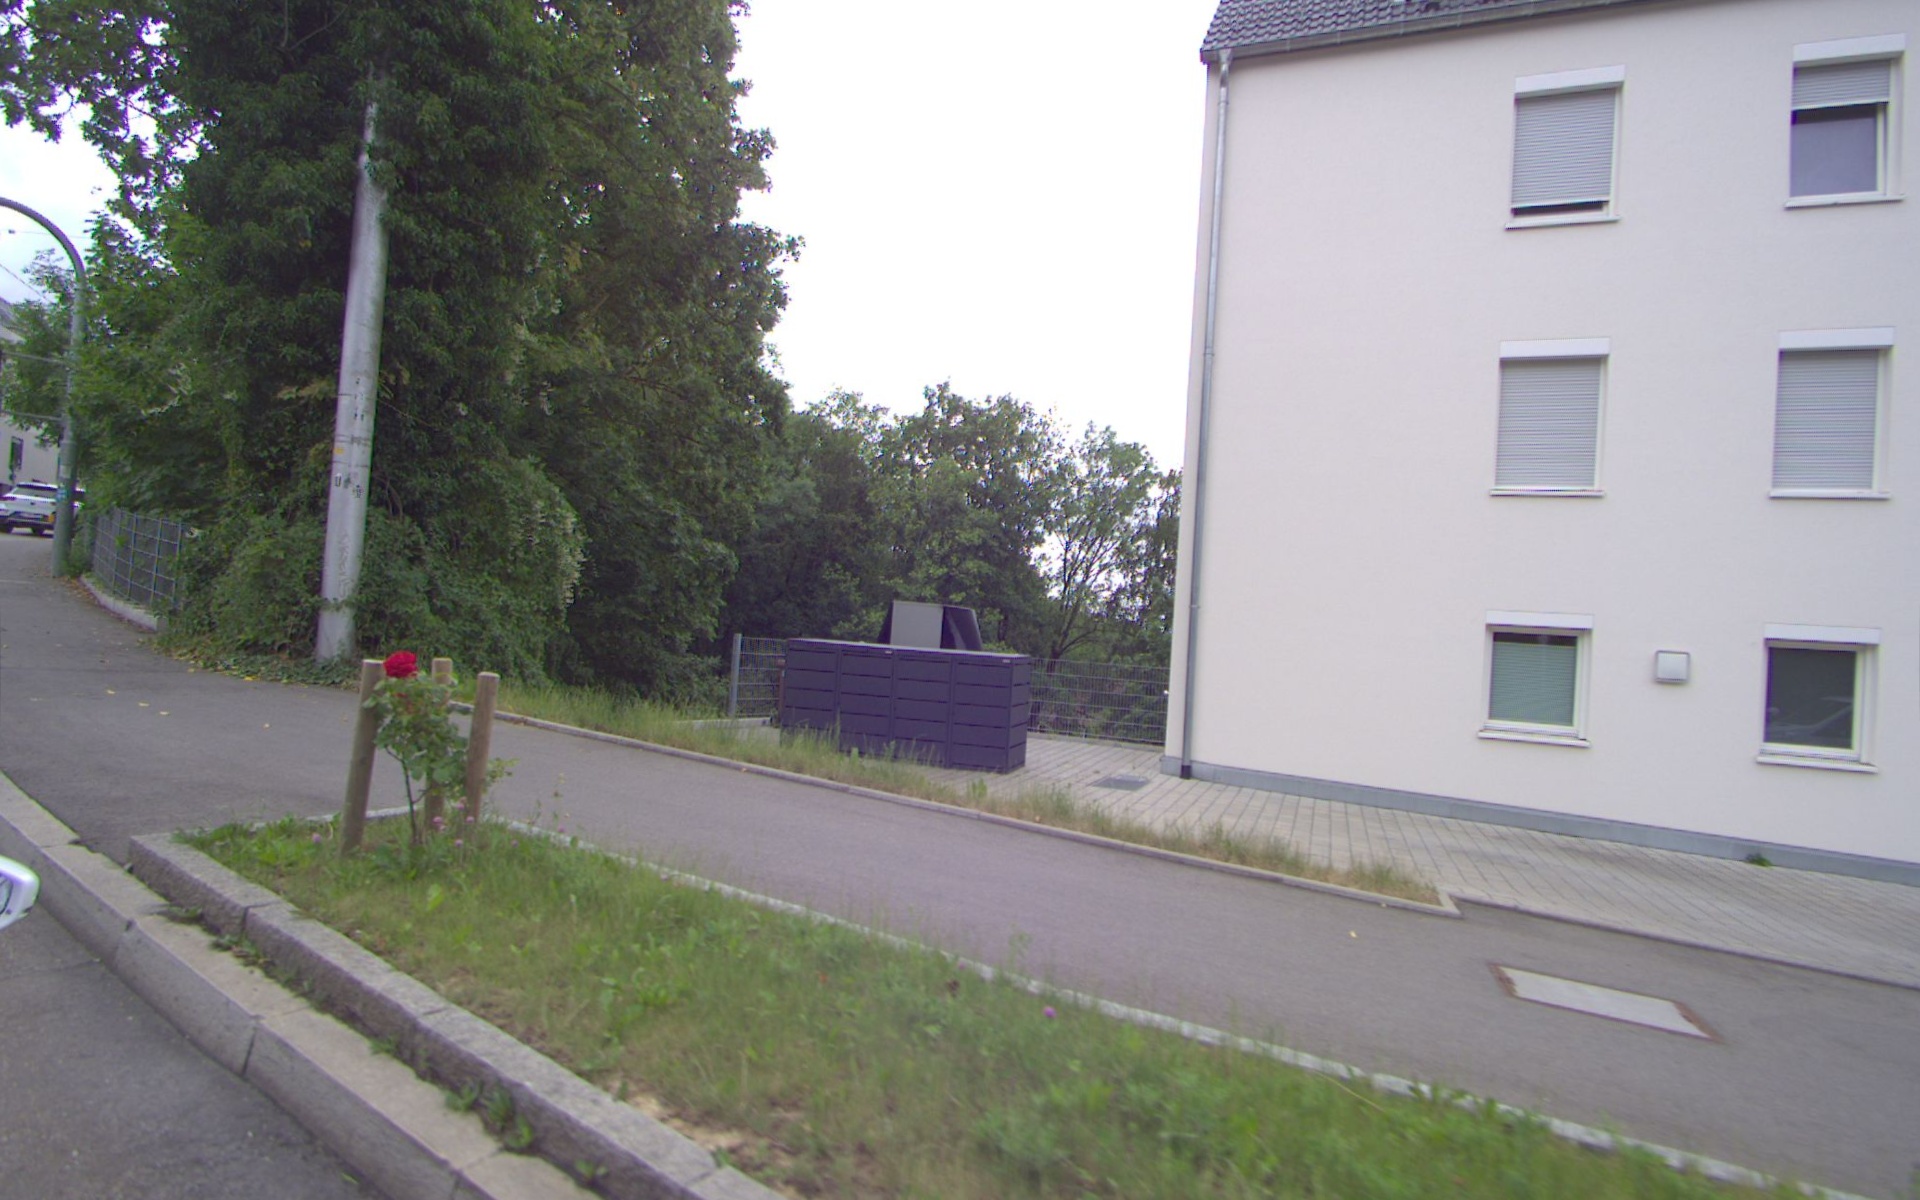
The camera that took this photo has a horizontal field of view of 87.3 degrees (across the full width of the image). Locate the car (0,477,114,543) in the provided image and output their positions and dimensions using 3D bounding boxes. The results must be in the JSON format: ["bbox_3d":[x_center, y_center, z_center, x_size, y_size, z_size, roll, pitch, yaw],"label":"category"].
[{"bbox_3d":[-27.535,-2.688,30.622,1.765,1.598,3.973,8,-1,-28],"label":"car"}]

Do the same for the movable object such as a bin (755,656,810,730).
[{"bbox_3d":[-2.413,1.262,13.681,0.491,0.934,0.383,7,0,24],"label":"movable object such as a bin"}]
